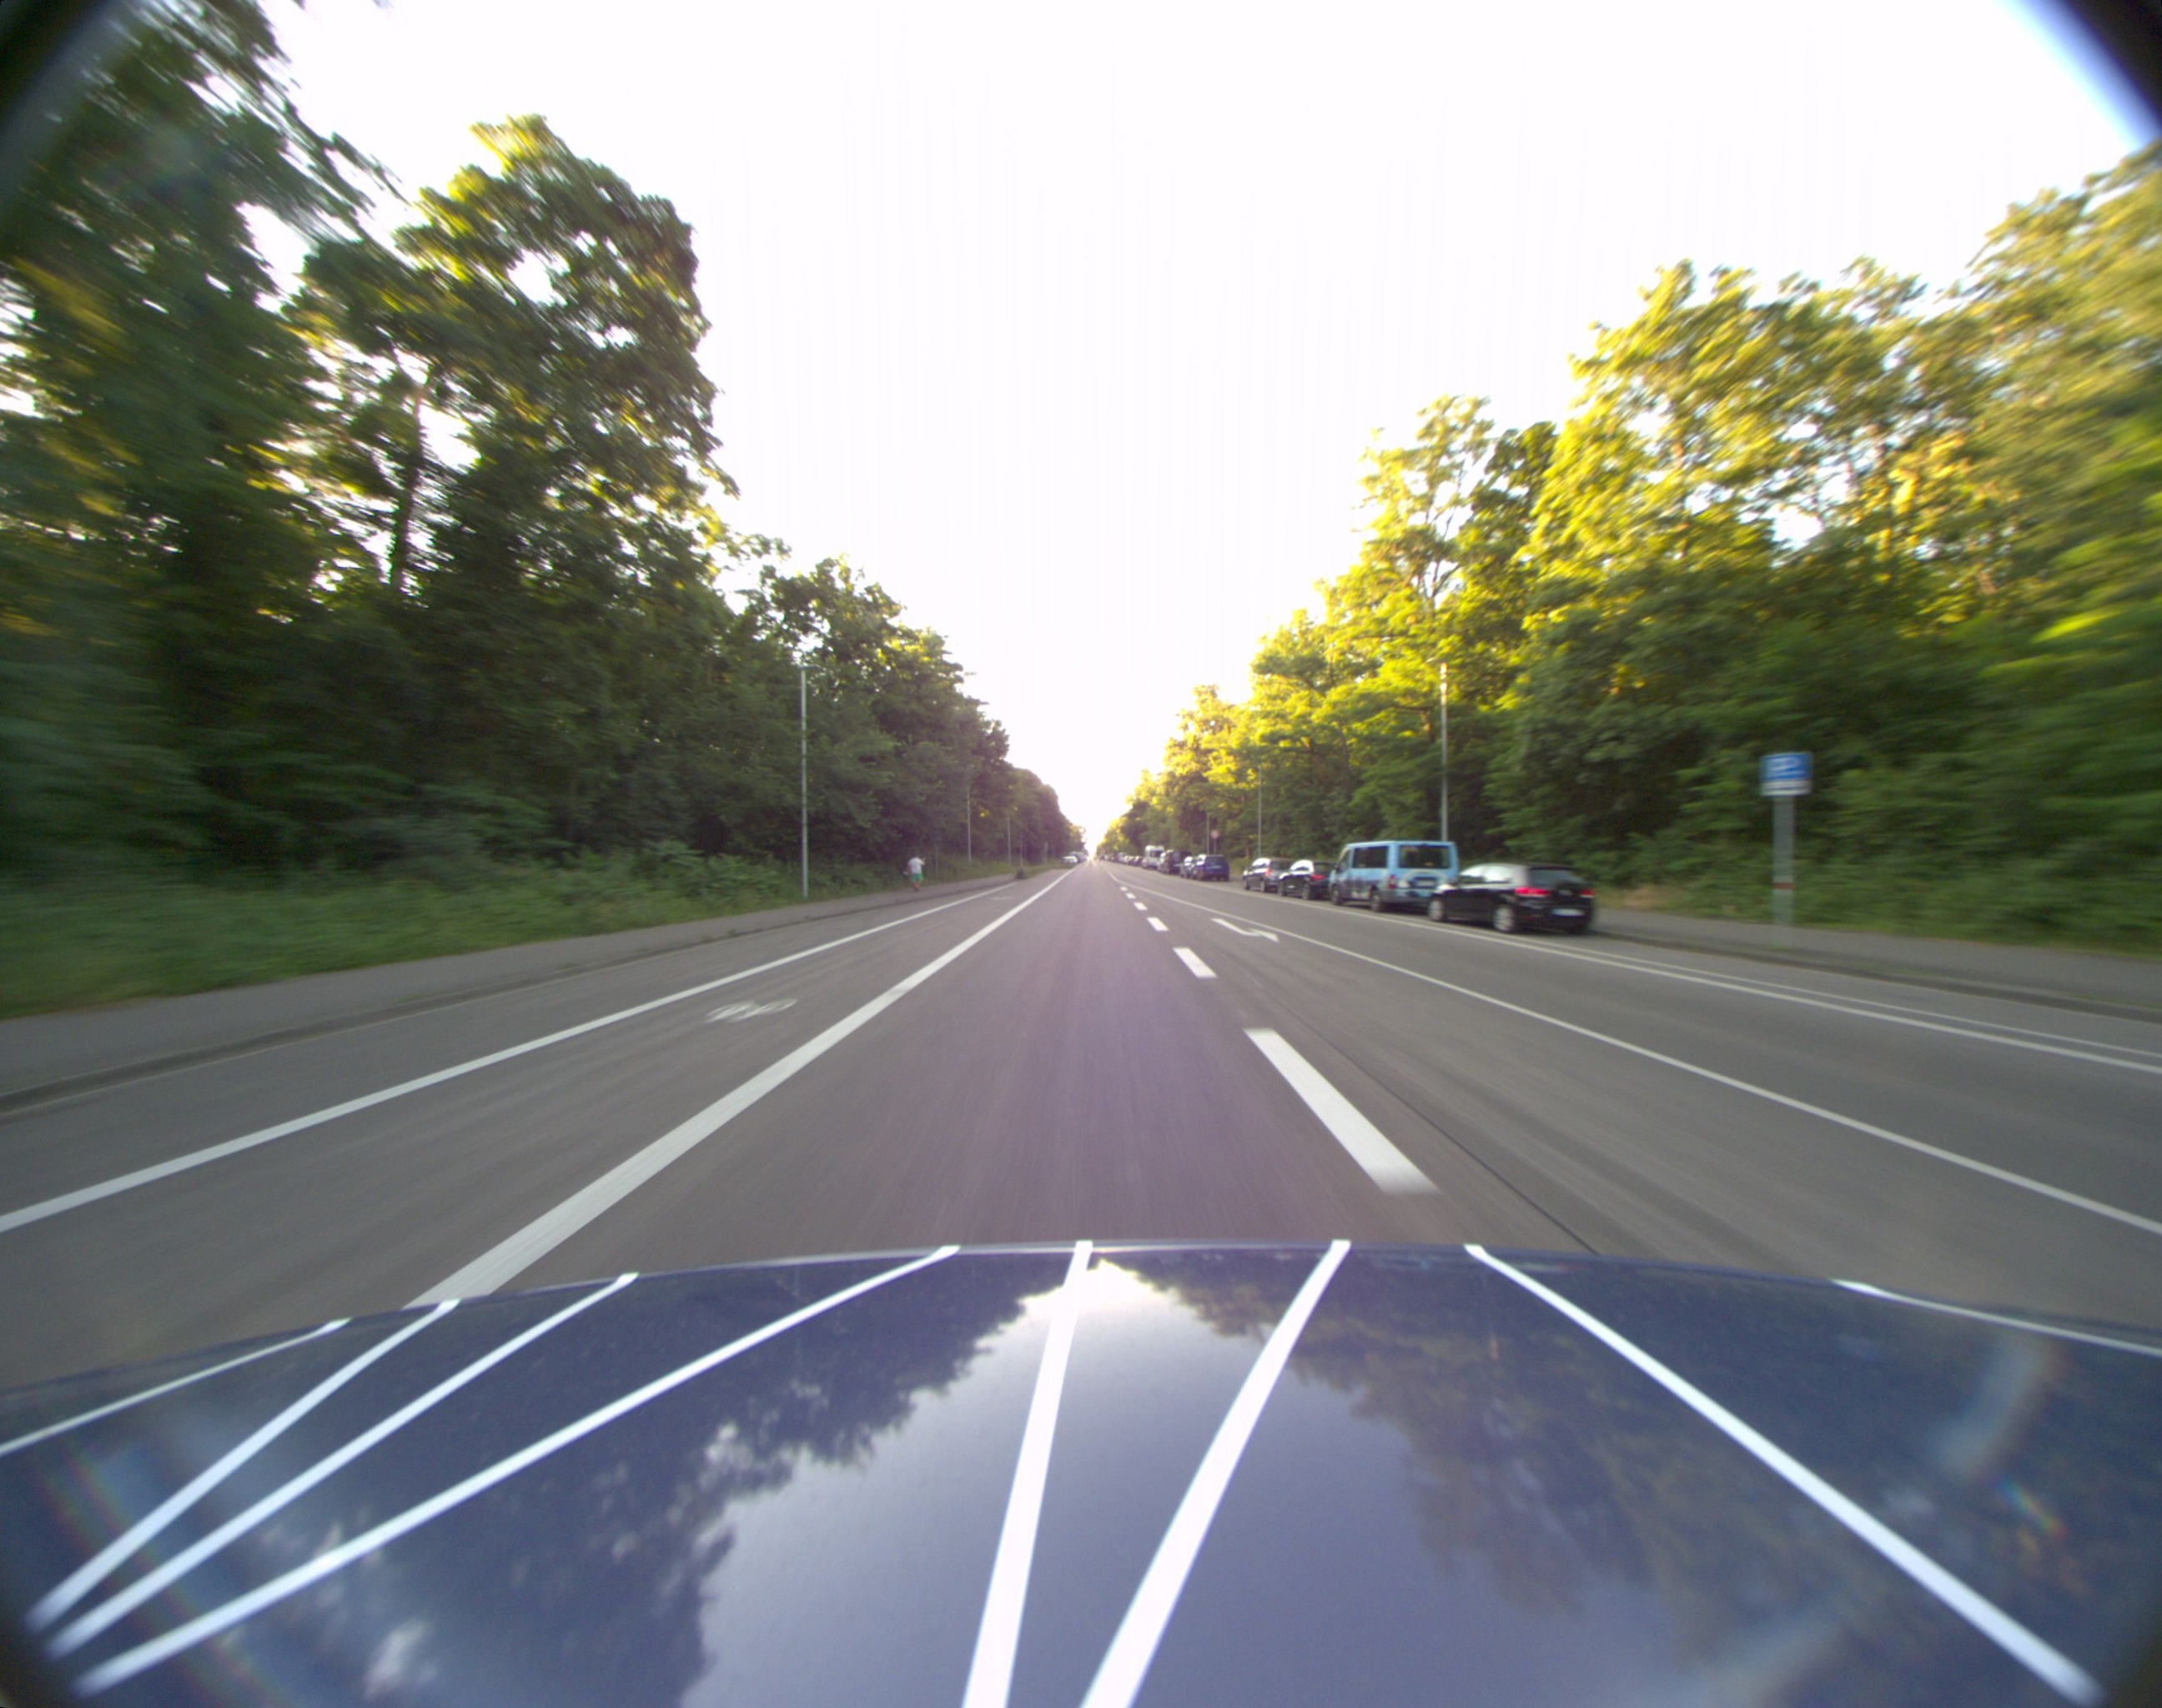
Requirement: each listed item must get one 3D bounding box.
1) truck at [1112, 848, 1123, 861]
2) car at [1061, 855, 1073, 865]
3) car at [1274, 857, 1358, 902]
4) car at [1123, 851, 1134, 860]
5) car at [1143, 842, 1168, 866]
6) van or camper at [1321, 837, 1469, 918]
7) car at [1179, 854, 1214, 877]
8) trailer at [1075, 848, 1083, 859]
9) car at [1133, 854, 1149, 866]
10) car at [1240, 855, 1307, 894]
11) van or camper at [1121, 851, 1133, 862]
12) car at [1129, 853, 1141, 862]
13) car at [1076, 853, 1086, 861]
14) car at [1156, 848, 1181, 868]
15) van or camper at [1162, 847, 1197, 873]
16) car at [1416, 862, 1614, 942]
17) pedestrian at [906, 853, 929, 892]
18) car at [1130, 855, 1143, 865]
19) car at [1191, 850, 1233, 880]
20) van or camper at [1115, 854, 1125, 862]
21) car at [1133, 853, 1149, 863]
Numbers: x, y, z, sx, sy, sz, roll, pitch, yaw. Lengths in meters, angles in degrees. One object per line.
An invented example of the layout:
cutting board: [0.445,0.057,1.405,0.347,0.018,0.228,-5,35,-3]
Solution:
truck: [9.754,0.100,203.755,2.226,3.188,6.271,3,0,0]
car: [-2.103,0.930,115.884,1.715,1.436,4.122,-2,0,1]
car: [8.557,0.877,27.984,1.547,1.485,3.970,1,0,-5]
car: [8.985,0.267,143.253,1.699,1.636,4.572,1,0,-1]
car: [8.287,0.006,85.359,2.084,2.591,7.089,2,0,1]
van or camper: [9.026,0.619,22.414,2.037,2.082,5.012,1,0,-3]
car: [7.900,0.774,52.184,1.673,1.492,4.245,1,0,-1]
trailer: [-0.532,-0.062,189.344,1.866,2.633,4.270,-2,0,1]
car: [7.161,0.672,91.307,1.720,1.422,4.388,0,0,2]
car: [8.329,0.844,33.155,1.621,1.525,4.038,1,0,-4]
van or camper: [10.322,0.598,171.128,2.116,2.376,6.381,2,0,0]
car: [8.924,0.600,125.874,1.601,1.386,4.052,0,0,0]
car: [0.007,0.601,144.434,1.848,1.484,4.759,-1,-1,-1]
car: [8.523,0.410,74.316,1.692,1.847,4.386,-1,1,-2]
van or camper: [8.017,0.477,62.328,2.008,2.006,5.460,2,0,-1]
car: [9.328,0.954,16.792,1.692,1.453,4.241,1,0,-4]
pedestrian: [-7.486,0.835,34.744,0.840,1.741,0.726,-1,1,2]
car: [8.697,0.881,119.672,1.716,1.500,3.657,1,0,0]
car: [8.032,0.648,47.053,1.749,1.702,4.522,1,0,-1]
van or camper: [9.705,1.068,190.389,2.034,1.945,4.692,3,0,-2]
car: [8.586,0.603,109.395,1.850,1.454,4.229,1,0,-2]
